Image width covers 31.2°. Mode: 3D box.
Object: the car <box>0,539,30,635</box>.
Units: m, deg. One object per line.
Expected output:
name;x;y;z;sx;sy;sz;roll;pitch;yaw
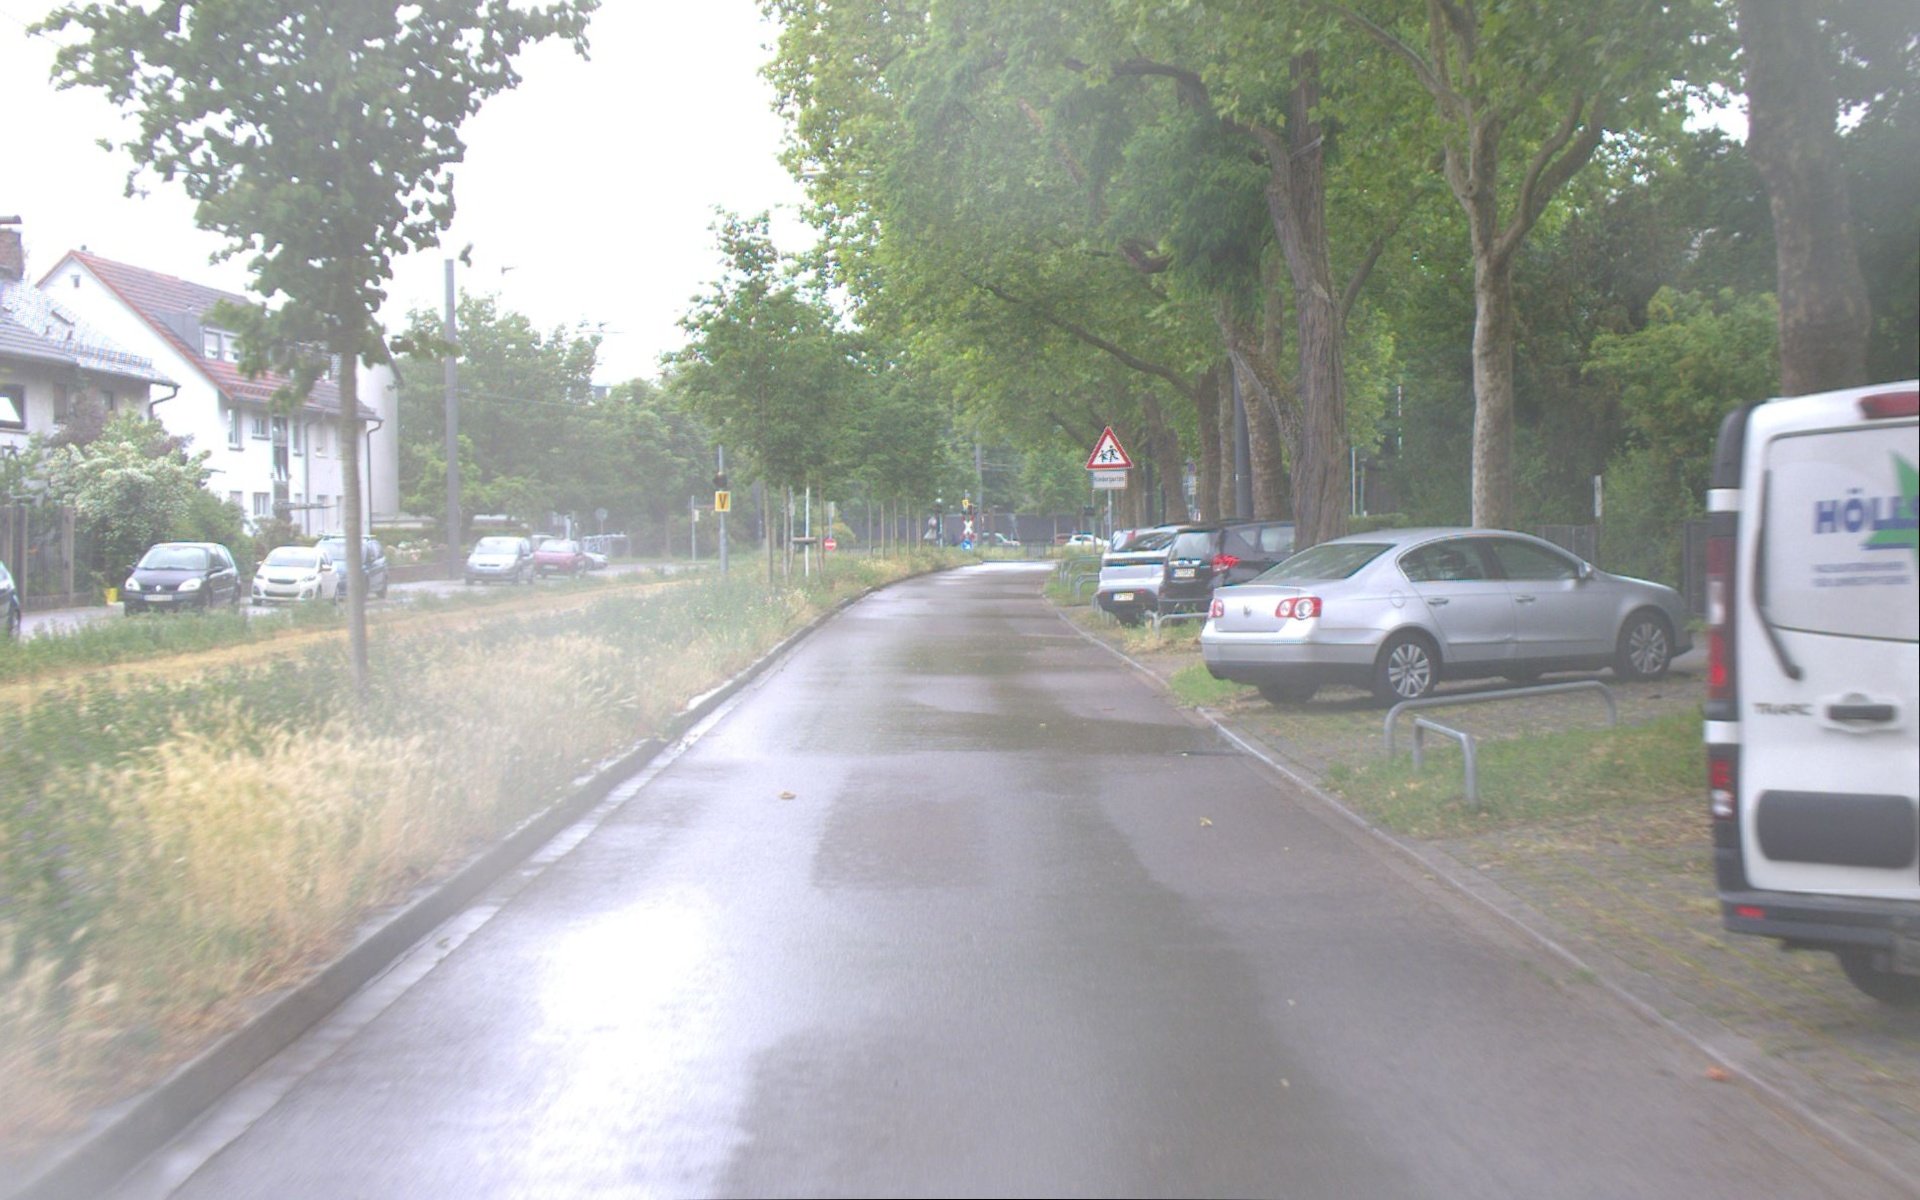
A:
car;-16.715;-0.216;56.413;1.873;1.545;3.870;1;2;-1

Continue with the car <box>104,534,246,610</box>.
car;-16.768;-0.630;73.613;1.993;1.511;4.205;1;2;1

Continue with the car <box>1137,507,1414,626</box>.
car;4.547;-0.496;49.388;3.702;1.561;1.619;-3;2;-32

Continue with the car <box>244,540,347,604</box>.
car;-16.487;-0.715;85.451;1.796;1.483;3.597;1;2;1

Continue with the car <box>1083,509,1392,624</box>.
car;4.480;-0.559;55.114;4.761;1.662;1.994;-3;2;-36

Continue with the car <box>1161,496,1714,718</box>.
car;4.183;0.011;29.873;4.546;1.539;1.888;-5;3;-32

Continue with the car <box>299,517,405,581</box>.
car;-16.421;-1.399;92.978;1.993;1.608;4.413;1;2;1

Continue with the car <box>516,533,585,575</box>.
car;-15.446;-1.746;129.766;1.993;1.483;4.205;1;2;1

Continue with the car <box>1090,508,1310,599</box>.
car;4.619;-0.908;66.269;3.854;1.561;1.620;-3;2;-14

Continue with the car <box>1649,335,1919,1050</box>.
car;4.739;0.131;11.054;5.014;2.006;2.000;-4;3;-35

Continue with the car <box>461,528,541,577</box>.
car;-15.473;-1.622;116.036;1.993;1.575;4.517;1;2;1
